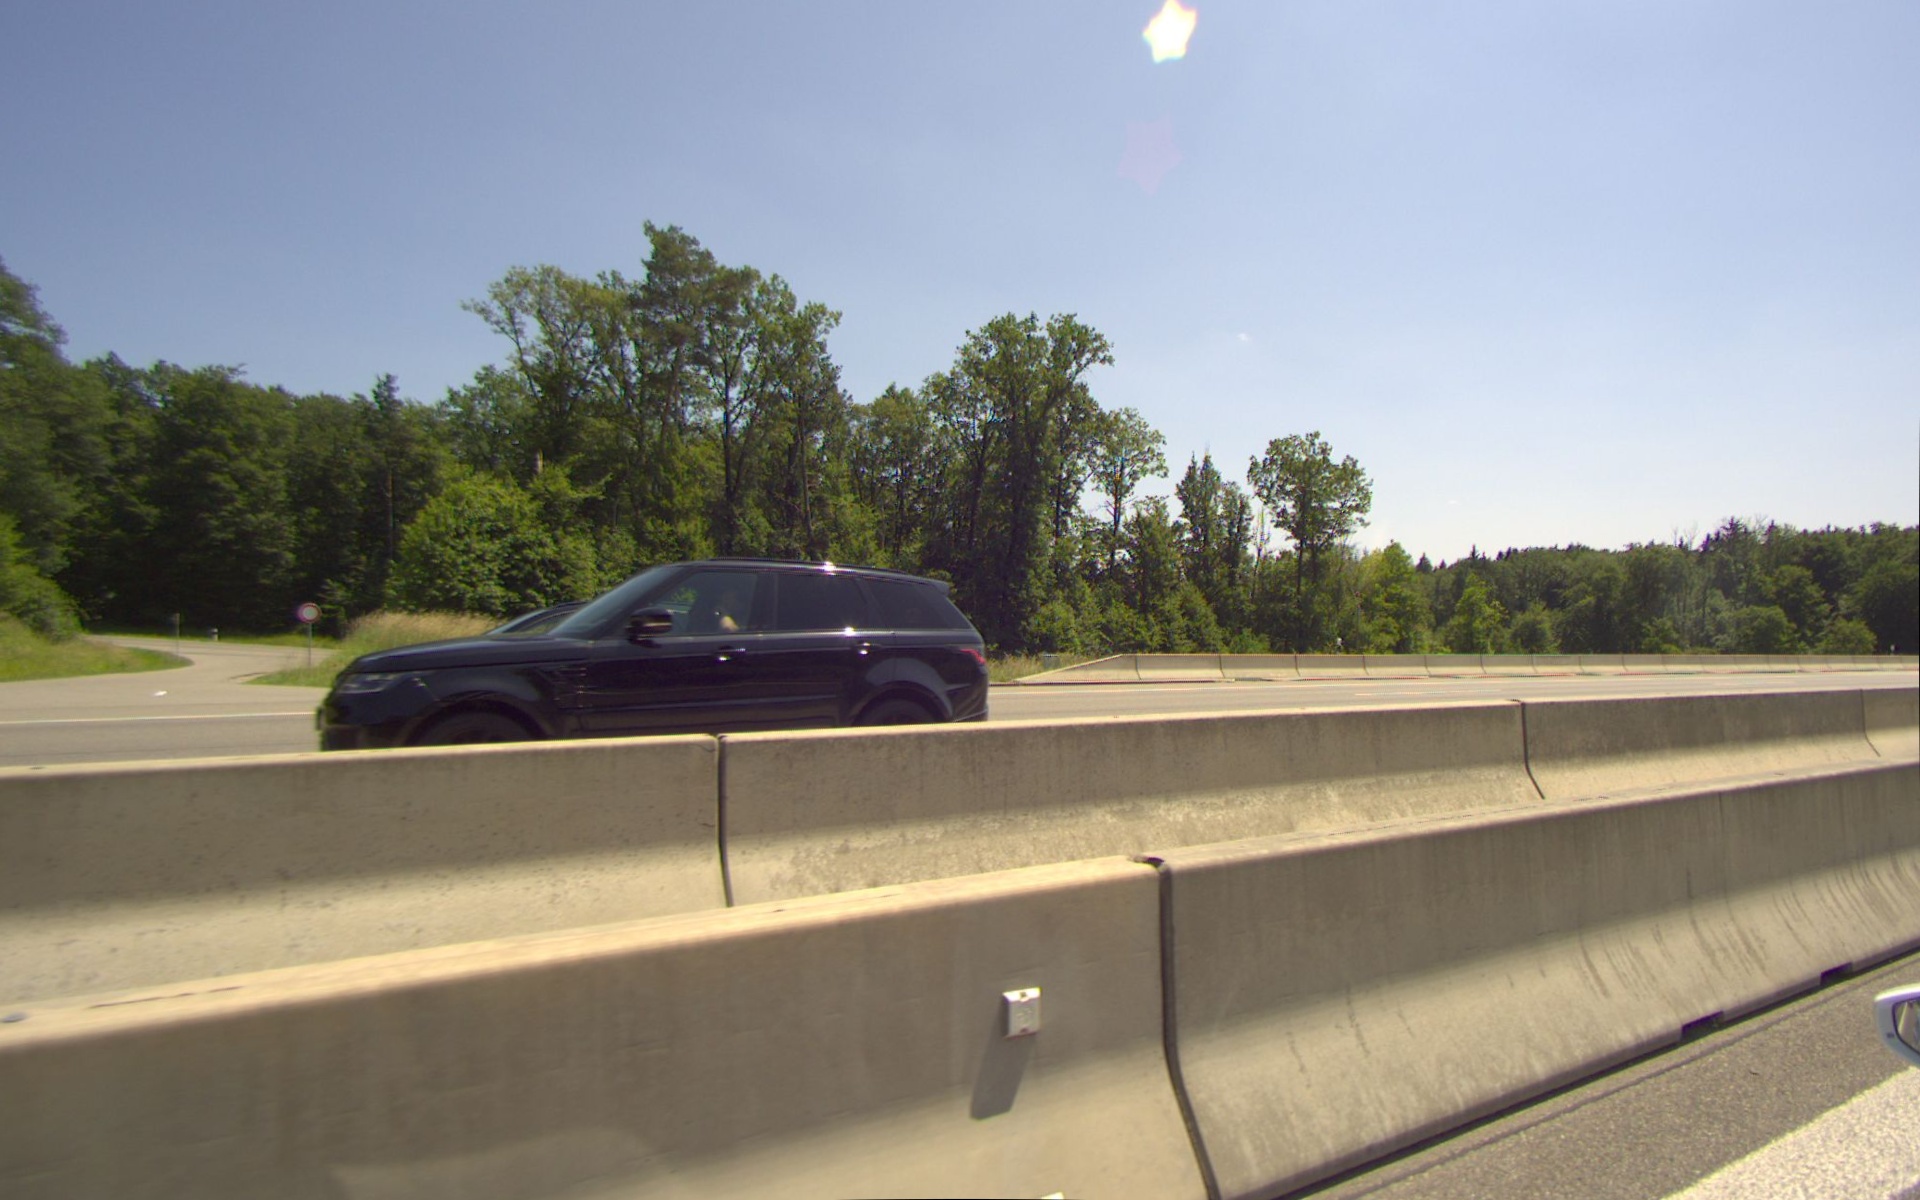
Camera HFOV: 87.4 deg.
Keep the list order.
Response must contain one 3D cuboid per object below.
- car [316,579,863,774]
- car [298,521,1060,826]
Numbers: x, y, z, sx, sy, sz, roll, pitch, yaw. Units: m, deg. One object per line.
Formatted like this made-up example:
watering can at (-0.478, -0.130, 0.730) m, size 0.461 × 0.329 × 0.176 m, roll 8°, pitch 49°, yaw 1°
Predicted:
car at (-3.838, 0.766, 10.946) m, size 5.219 × 1.696 × 1.984 m, roll 1°, pitch -3°, yaw -31°
car at (-1.918, 0.506, 7.791) m, size 5.219 × 1.695 × 1.984 m, roll 1°, pitch -3°, yaw -31°
